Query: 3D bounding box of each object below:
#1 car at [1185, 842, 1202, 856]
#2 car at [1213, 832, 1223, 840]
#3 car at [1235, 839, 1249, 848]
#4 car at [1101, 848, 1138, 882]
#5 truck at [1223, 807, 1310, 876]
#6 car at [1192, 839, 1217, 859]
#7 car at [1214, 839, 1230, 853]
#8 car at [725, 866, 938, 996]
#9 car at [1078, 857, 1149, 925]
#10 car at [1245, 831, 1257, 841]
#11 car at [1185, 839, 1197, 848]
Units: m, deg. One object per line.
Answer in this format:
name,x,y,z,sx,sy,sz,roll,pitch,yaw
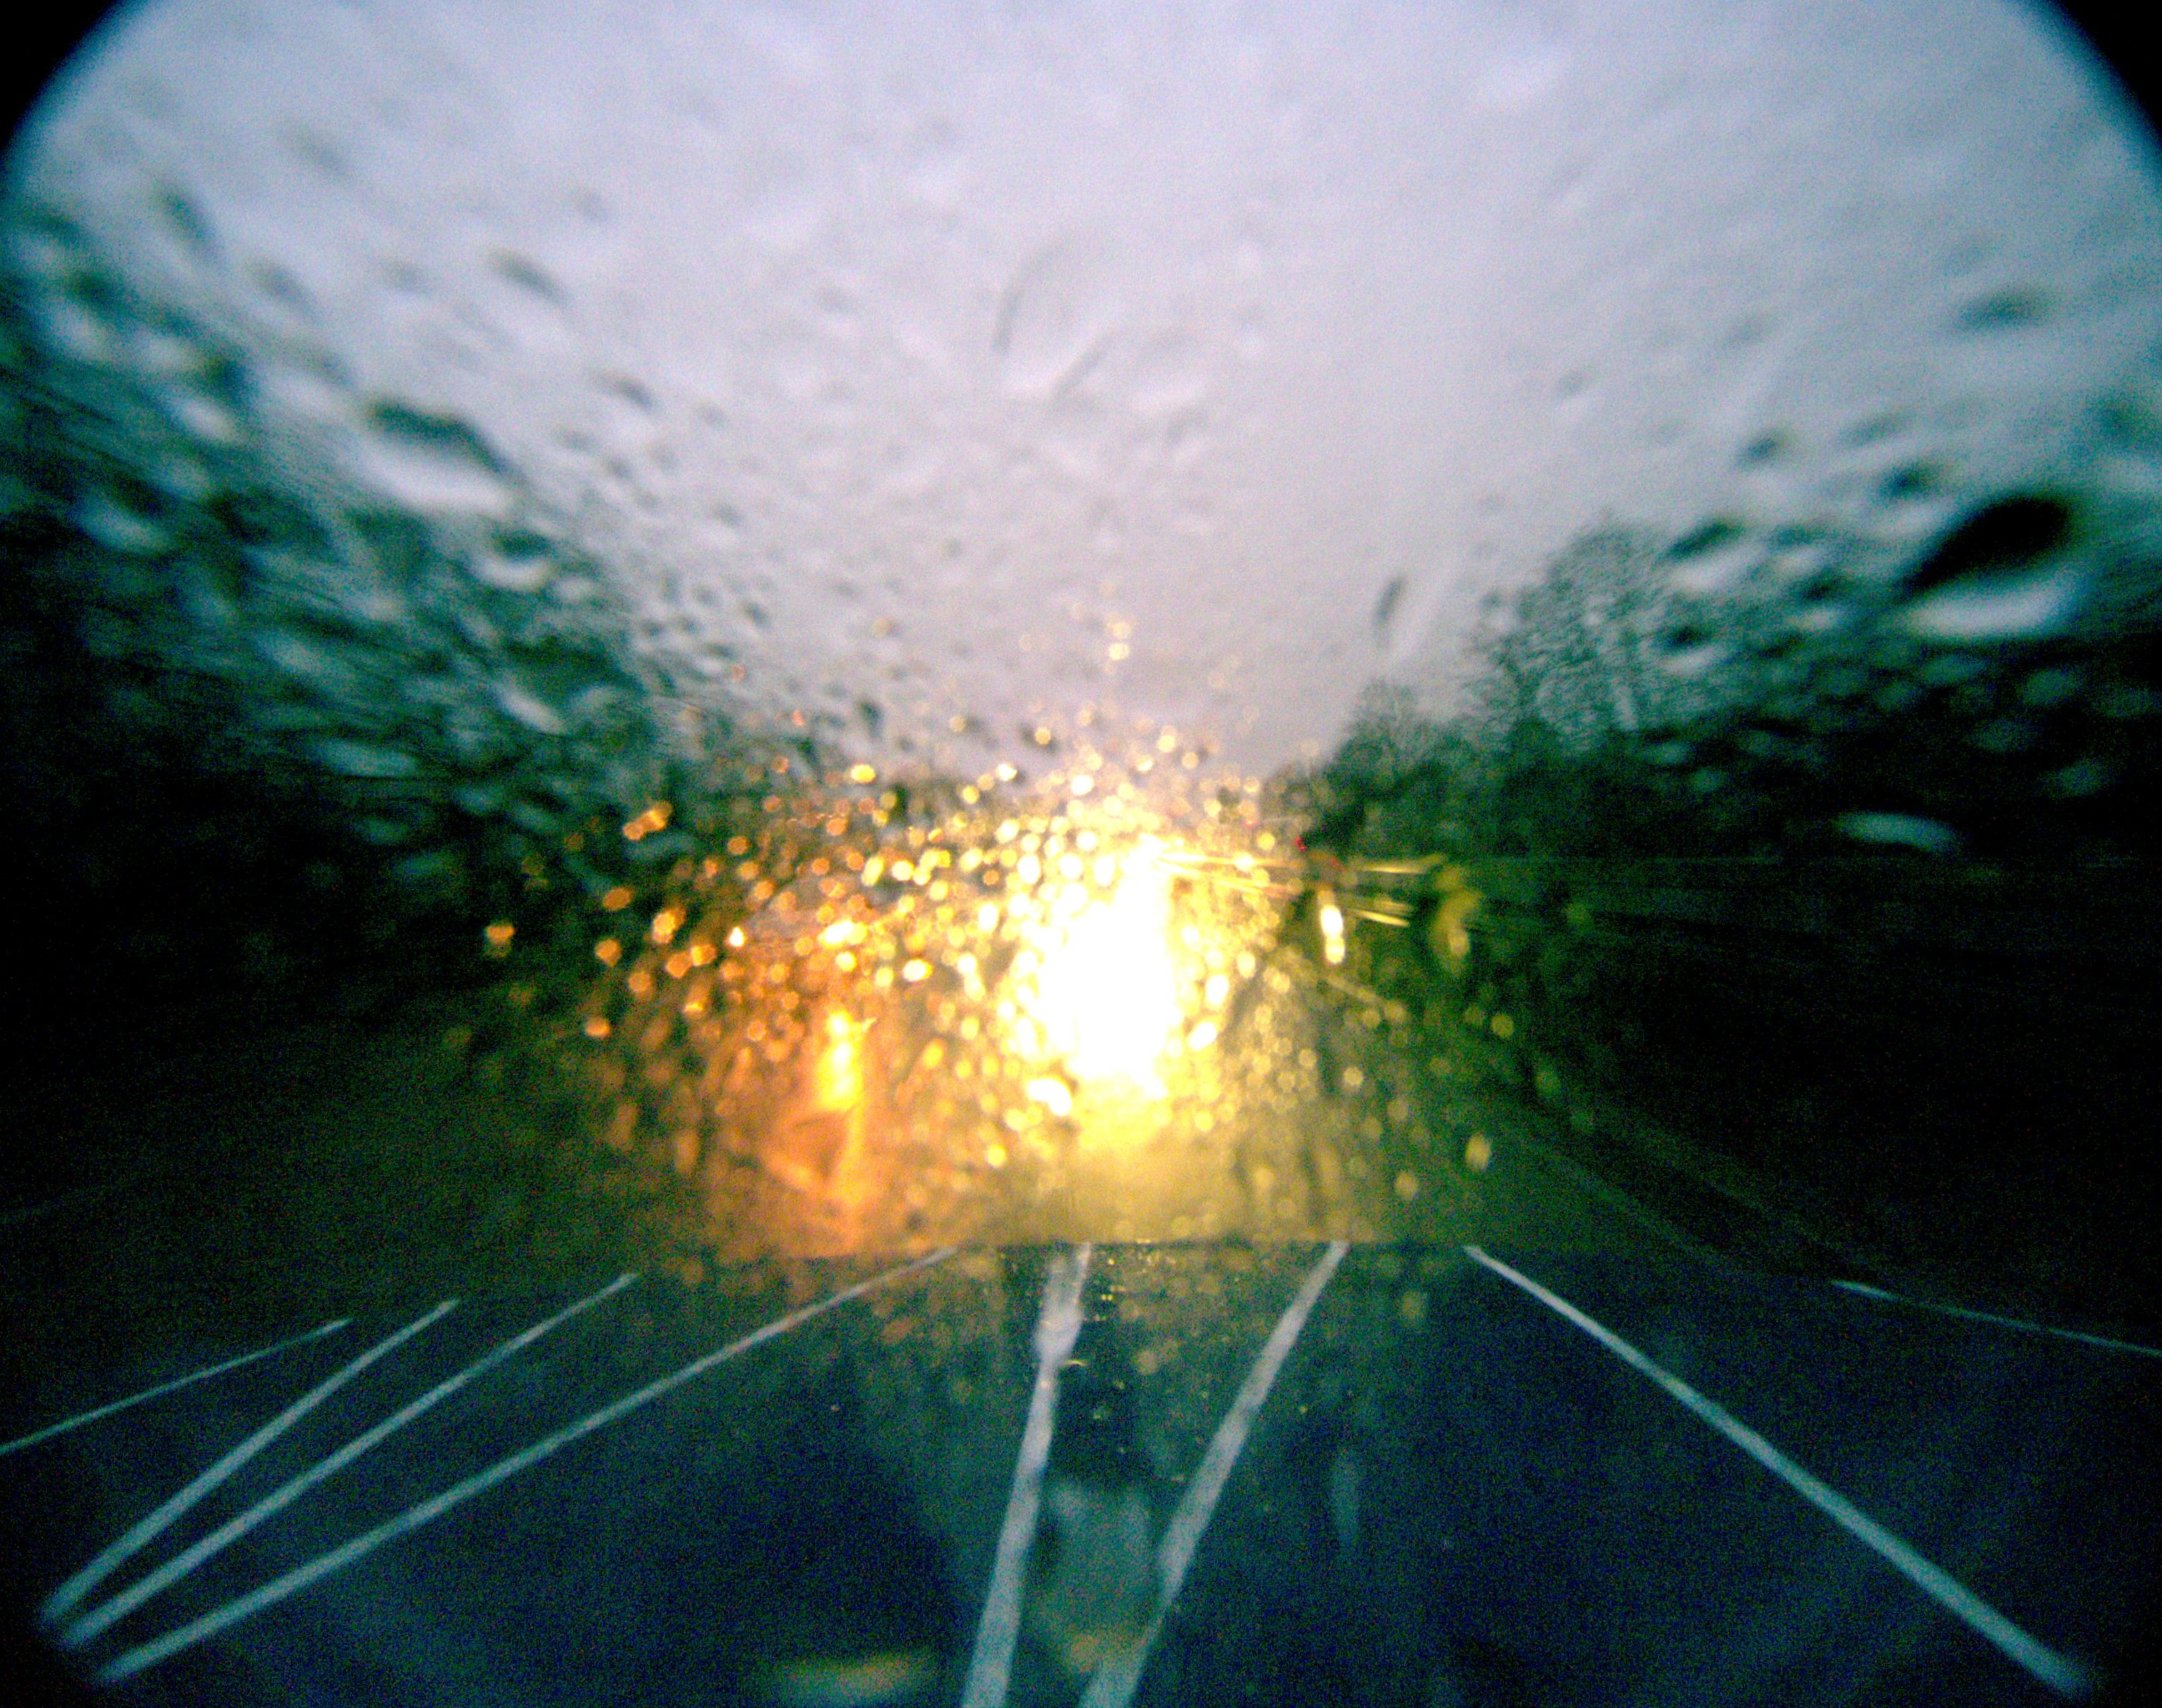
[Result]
car,14.697,-0.680,99.693,1.771,1.674,4.000,-4,1,4
car,33.767,-4.360,187.013,1.887,1.822,4.788,-4,1,7
car,29.076,-1.900,137.443,1.867,1.530,4.113,-4,1,6
car,2.098,0.551,40.284,1.758,1.521,4.000,-4,1,4
truck,9.650,-0.692,40.421,2.721,3.143,7.727,-4,1,2
car,12.585,-0.505,77.728,1.991,1.820,5.119,-4,1,4
car,19.509,-1.130,105.415,1.696,1.657,4.433,-4,1,5
car,-3.817,1.090,12.525,1.854,1.493,4.261,-4,1,2
car,0.853,0.883,20.089,1.594,1.445,4.176,-4,1,3
car,36.539,-3.897,163.474,1.884,1.822,4.788,-4,1,7
car,18.679,-1.770,129.531,1.758,1.433,4.000,-4,1,6
